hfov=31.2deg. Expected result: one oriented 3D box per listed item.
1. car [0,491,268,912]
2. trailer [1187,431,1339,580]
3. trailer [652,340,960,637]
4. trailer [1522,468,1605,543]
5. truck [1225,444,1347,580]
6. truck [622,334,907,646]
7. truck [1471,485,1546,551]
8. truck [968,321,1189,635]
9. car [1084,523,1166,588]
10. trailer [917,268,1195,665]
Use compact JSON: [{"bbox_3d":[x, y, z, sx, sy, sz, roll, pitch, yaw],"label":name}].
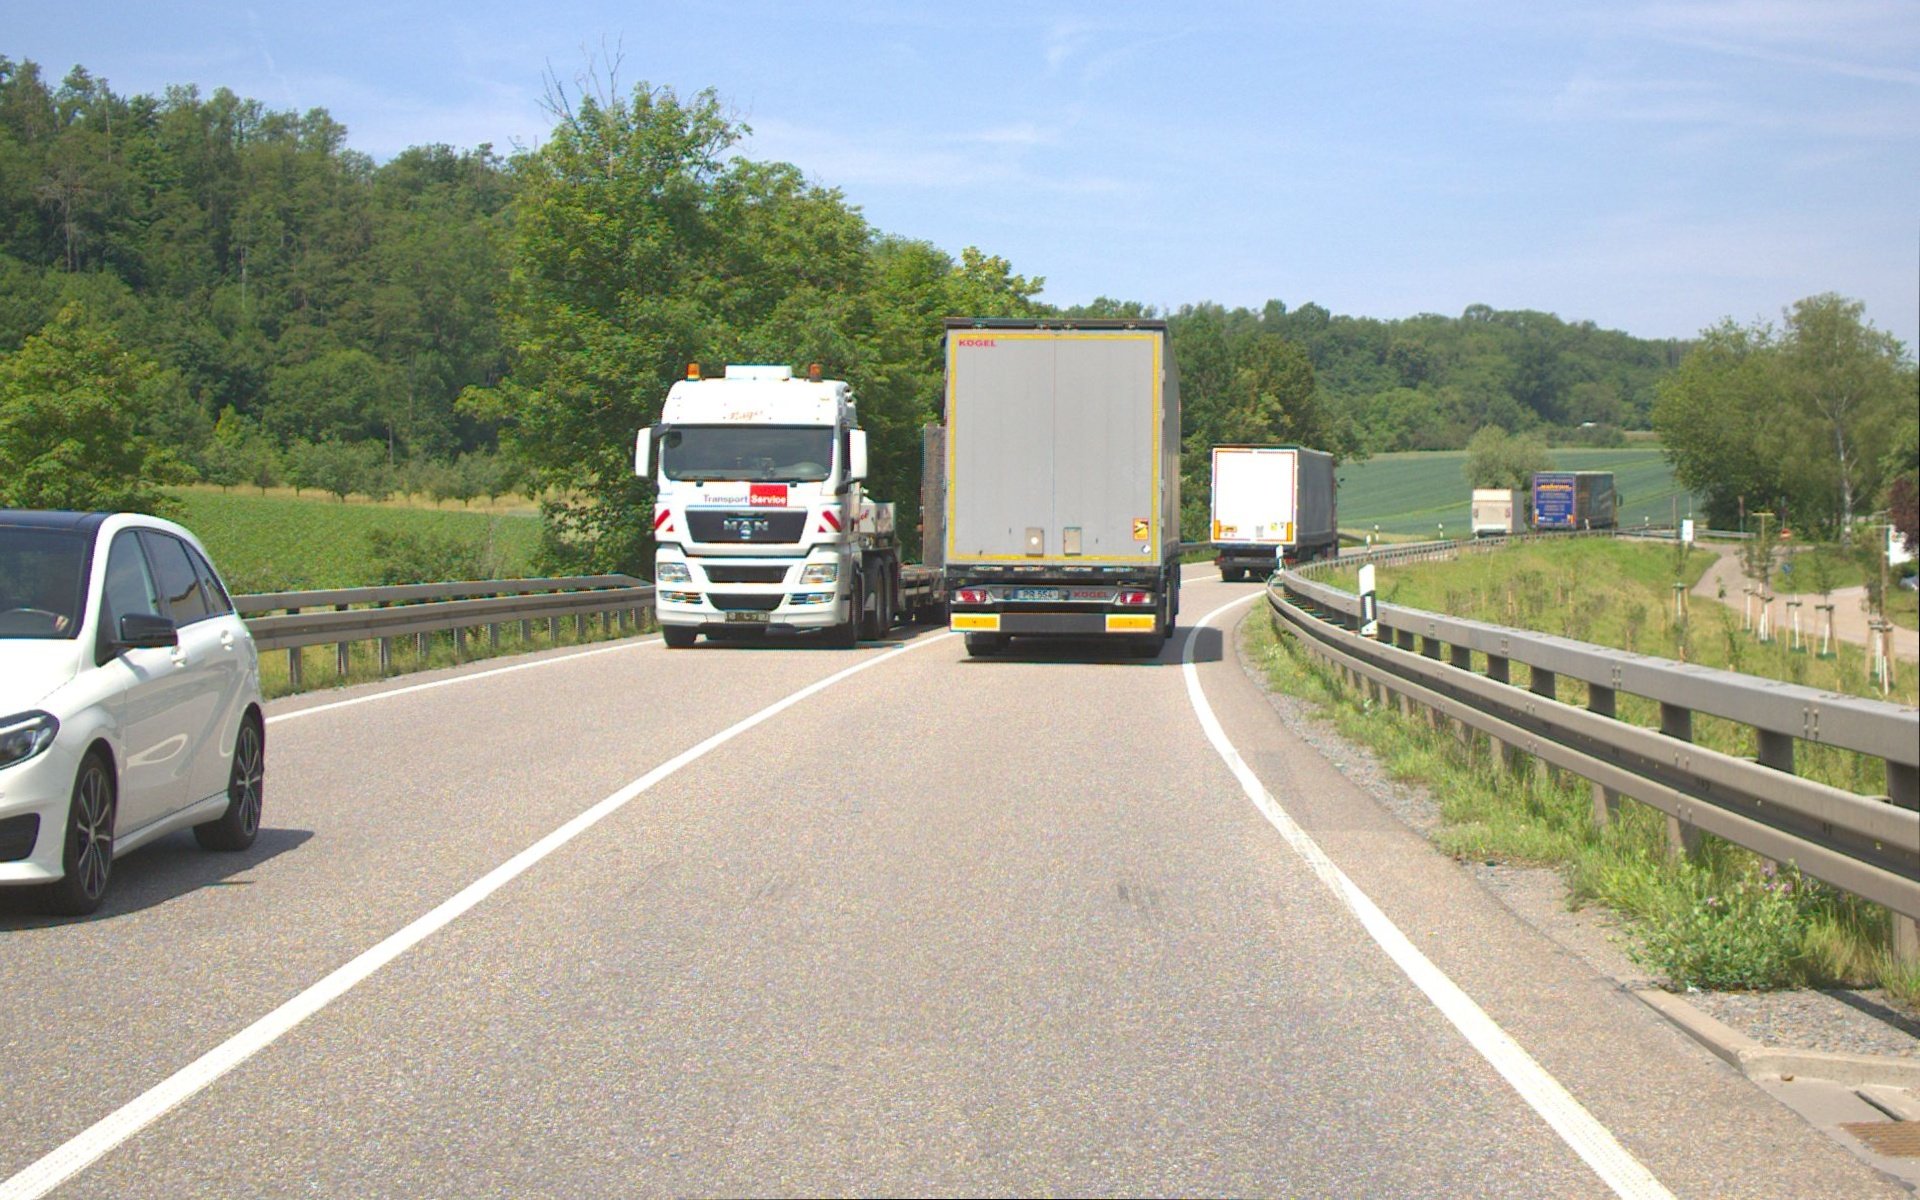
[{"bbox_3d":[-4.122,0.313,14.282,1.757,1.506,4.000,1,1,-1],"label":"car"},{"bbox_3d":[9.531,-2.791,106.545,3.366,4.302,13.858,1,1,10],"label":"trailer"},{"bbox_3d":[-2.063,-1.669,53.673,3.119,3.966,15.355,0,1,4],"label":"trailer"},{"bbox_3d":[36.727,-5.684,208.755,3.651,4.248,12.185,1,1,16],"label":"trailer"},{"bbox_3d":[10.767,-2.844,112.966,3.367,4.302,6.737,1,0,11],"label":"truck"},{"bbox_3d":[-2.535,-1.479,46.896,3.118,3.944,6.621,0,1,3],"label":"truck"},{"bbox_3d":[29.845,-4.421,186.705,3.224,3.354,11.868,1,1,13],"label":"truck"},{"bbox_3d":[1.911,-1.842,52.807,3.118,4.479,6.810,1,1,4],"label":"truck"},{"bbox_3d":[4.910,-1.335,101.637,1.922,1.853,5.174,1,1,8],"label":"car"},{"bbox_3d":[1.482,-1.699,46.125,3.118,4.484,13.885,1,1,3],"label":"trailer"}]
